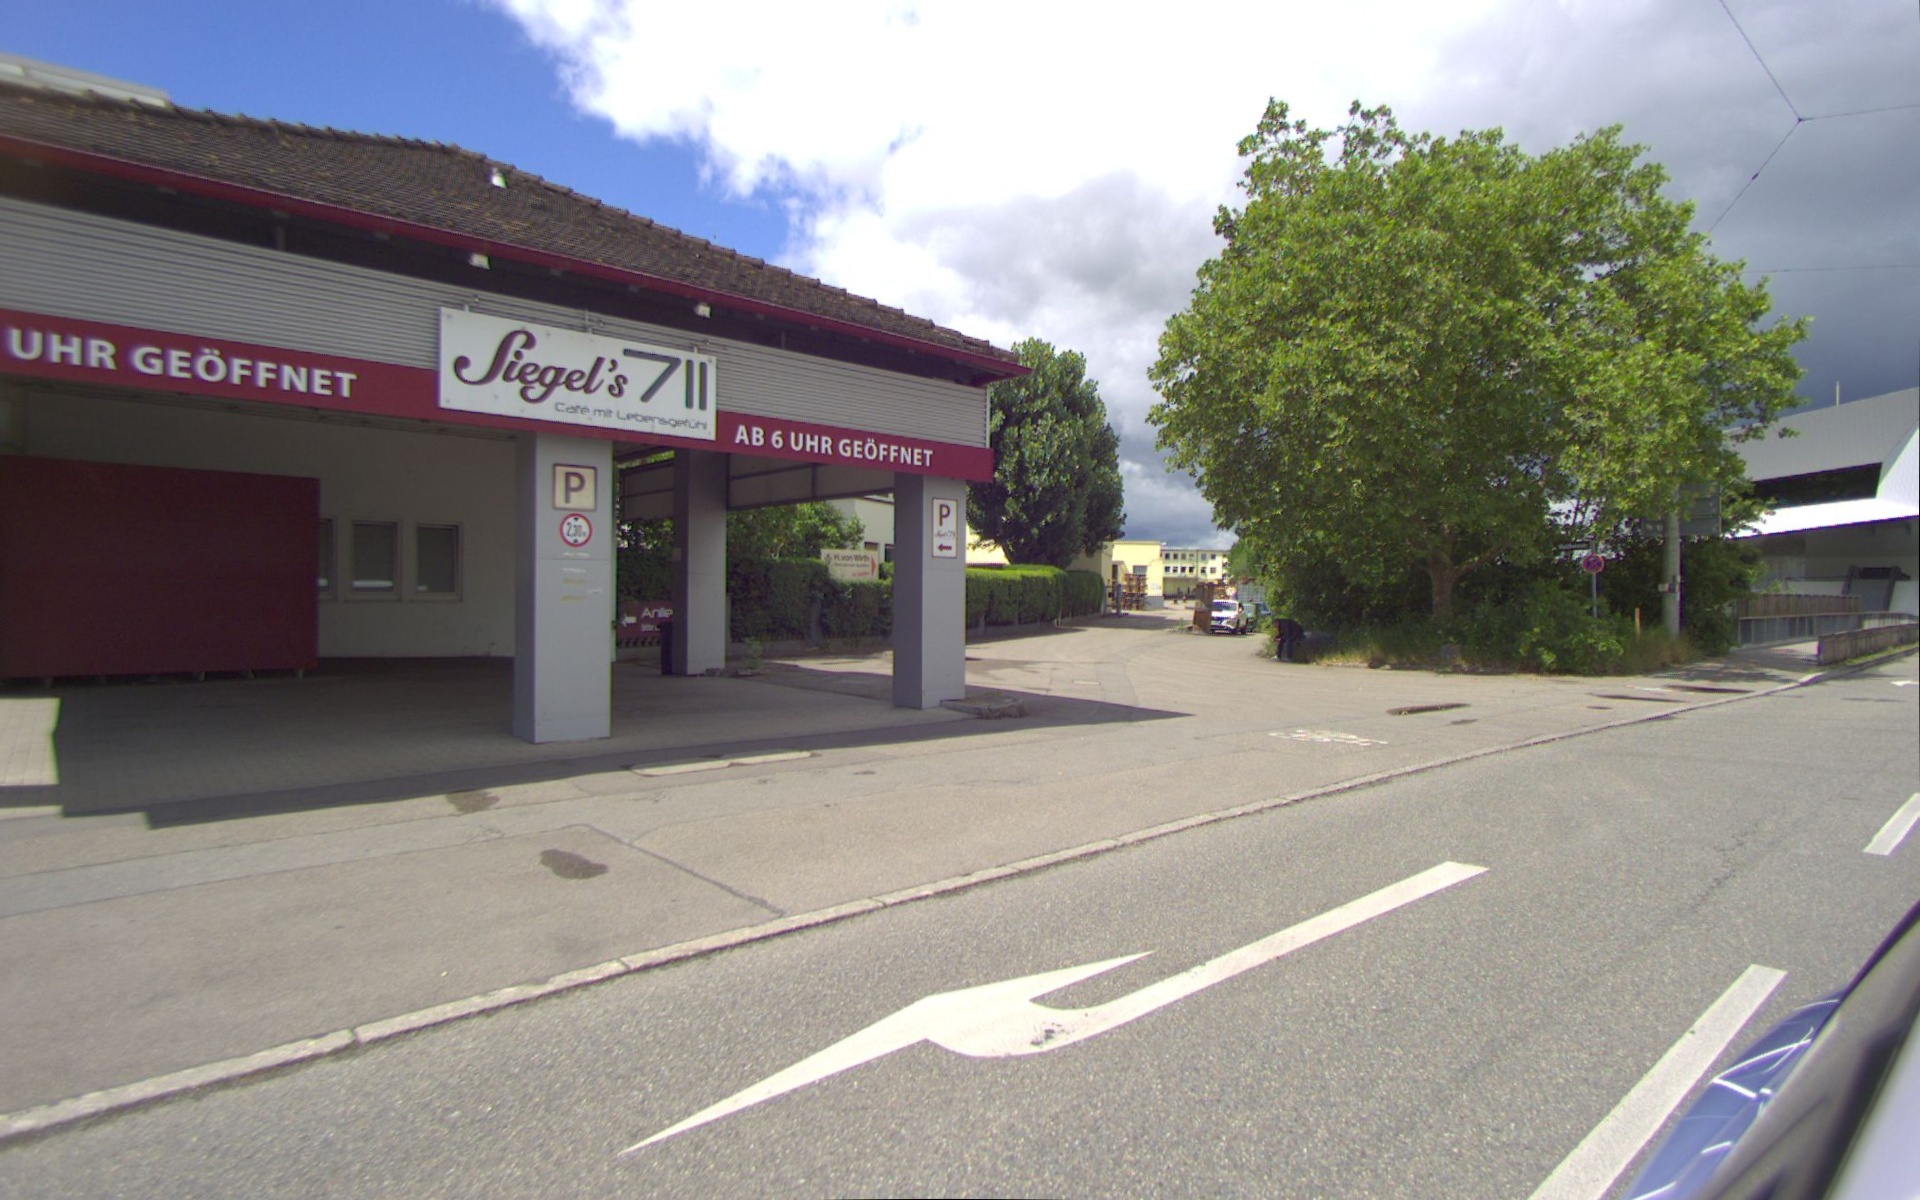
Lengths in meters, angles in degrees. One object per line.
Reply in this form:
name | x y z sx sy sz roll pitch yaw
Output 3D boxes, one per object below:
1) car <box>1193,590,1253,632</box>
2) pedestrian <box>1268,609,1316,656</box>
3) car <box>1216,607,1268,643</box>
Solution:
car | 12.605 0.478 48.299 1.980 1.740 4.077 5 3 25
pedestrian | 9.222 0.901 28.149 0.945 1.264 0.888 0 0 -12
car | 15.099 1.300 54.079 1.980 1.526 3.967 5 3 25
